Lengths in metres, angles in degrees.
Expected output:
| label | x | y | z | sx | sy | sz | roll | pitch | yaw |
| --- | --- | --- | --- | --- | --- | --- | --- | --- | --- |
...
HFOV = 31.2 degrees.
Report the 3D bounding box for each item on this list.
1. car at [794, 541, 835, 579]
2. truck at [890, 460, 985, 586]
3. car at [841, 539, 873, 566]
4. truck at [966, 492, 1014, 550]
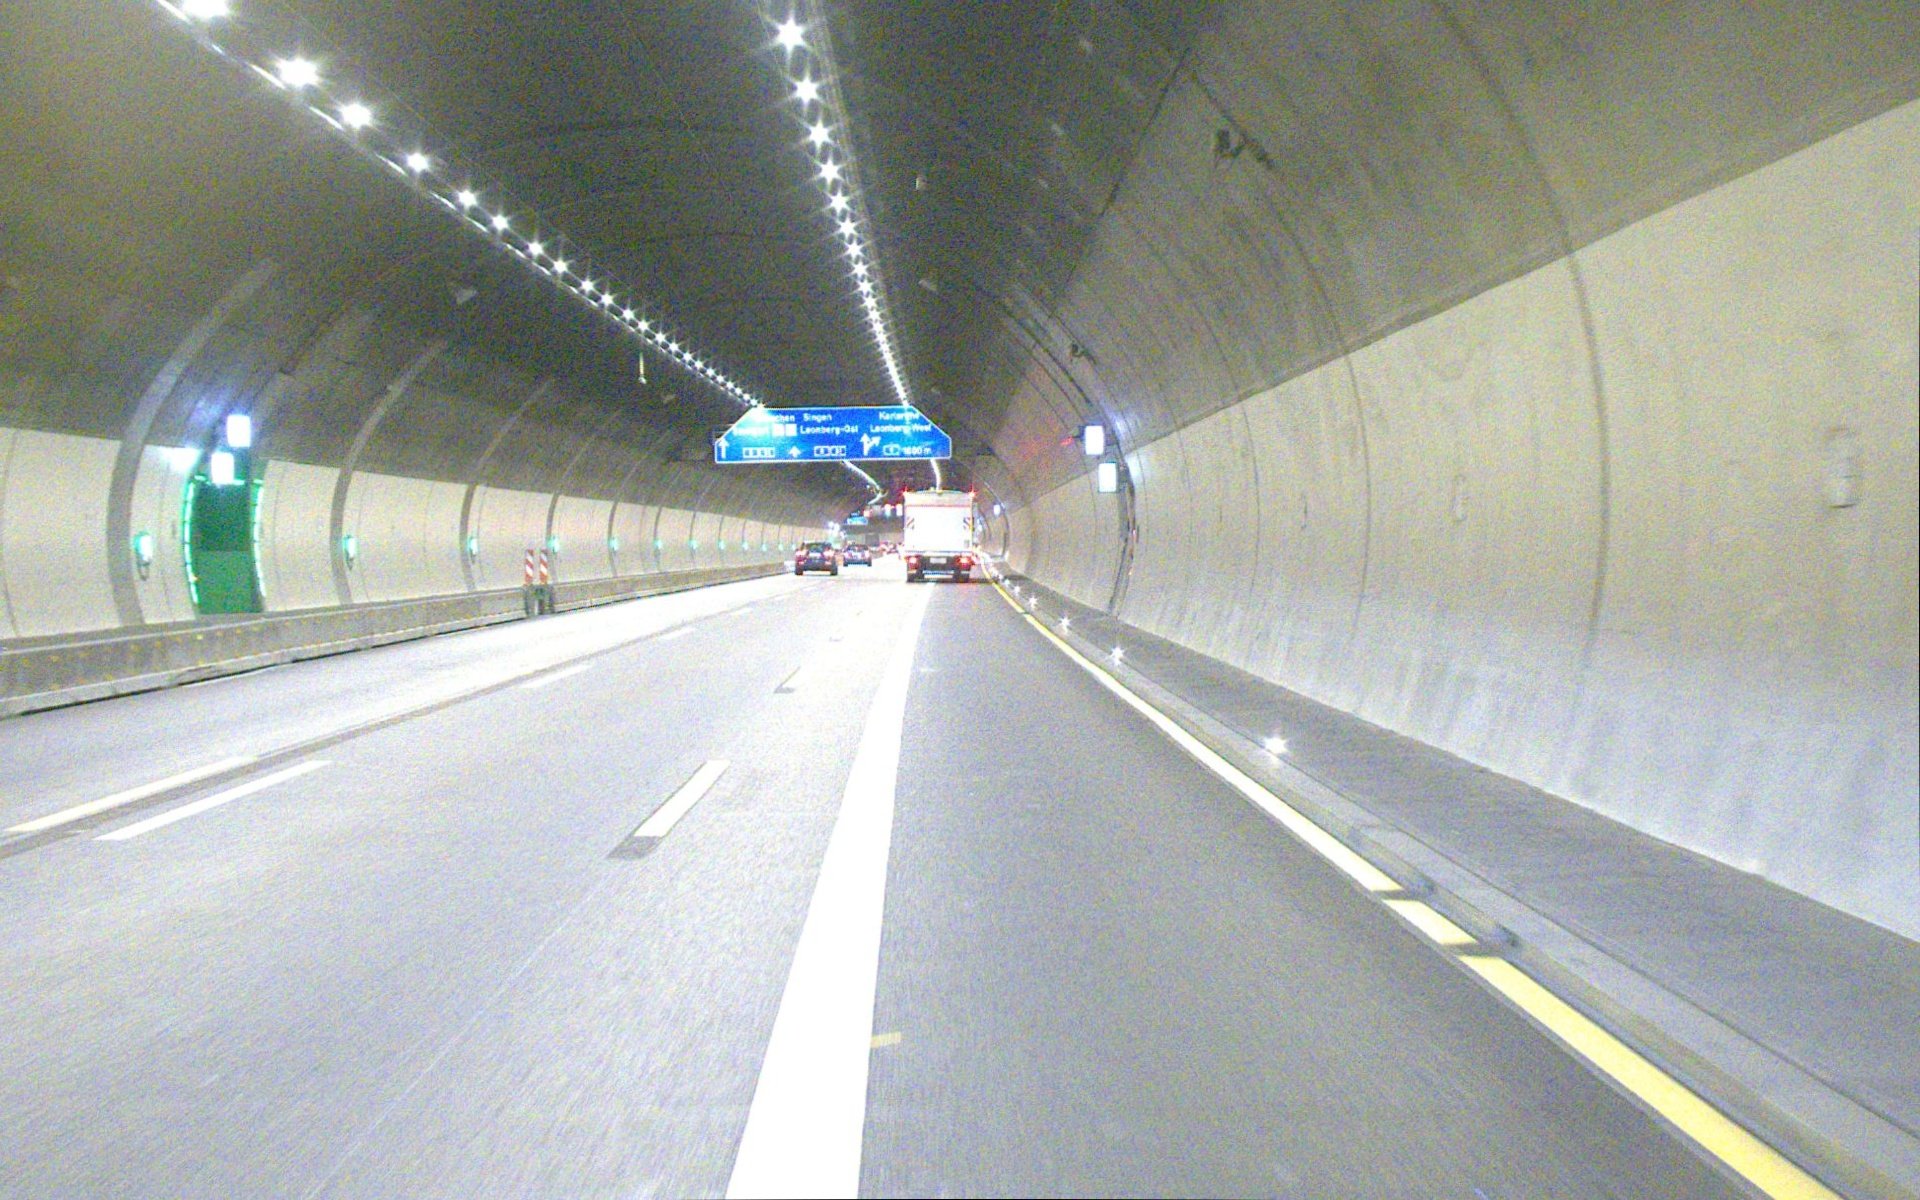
| label | x | y | z | sx | sy | sz | roll | pitch | yaw |
| --- | --- | --- | --- | --- | --- | --- | --- | --- | --- |
| car | -6.598 | -1.821 | 155.751 | 1.812 | 1.612 | 4.001 | 1 | 1 | -2 |
| truck | -1.019 | -3.028 | 136.291 | 3.278 | 4.634 | 17.288 | -1 | 1 | -2 |
| car | -6.346 | -2.903 | 211.576 | 1.812 | 1.514 | 4.001 | 1 | 2 | -4 |
| truck | 2.122 | -5.723 | 249.586 | 2.922 | 4.034 | 14.031 | -1 | 1 | -2 |
